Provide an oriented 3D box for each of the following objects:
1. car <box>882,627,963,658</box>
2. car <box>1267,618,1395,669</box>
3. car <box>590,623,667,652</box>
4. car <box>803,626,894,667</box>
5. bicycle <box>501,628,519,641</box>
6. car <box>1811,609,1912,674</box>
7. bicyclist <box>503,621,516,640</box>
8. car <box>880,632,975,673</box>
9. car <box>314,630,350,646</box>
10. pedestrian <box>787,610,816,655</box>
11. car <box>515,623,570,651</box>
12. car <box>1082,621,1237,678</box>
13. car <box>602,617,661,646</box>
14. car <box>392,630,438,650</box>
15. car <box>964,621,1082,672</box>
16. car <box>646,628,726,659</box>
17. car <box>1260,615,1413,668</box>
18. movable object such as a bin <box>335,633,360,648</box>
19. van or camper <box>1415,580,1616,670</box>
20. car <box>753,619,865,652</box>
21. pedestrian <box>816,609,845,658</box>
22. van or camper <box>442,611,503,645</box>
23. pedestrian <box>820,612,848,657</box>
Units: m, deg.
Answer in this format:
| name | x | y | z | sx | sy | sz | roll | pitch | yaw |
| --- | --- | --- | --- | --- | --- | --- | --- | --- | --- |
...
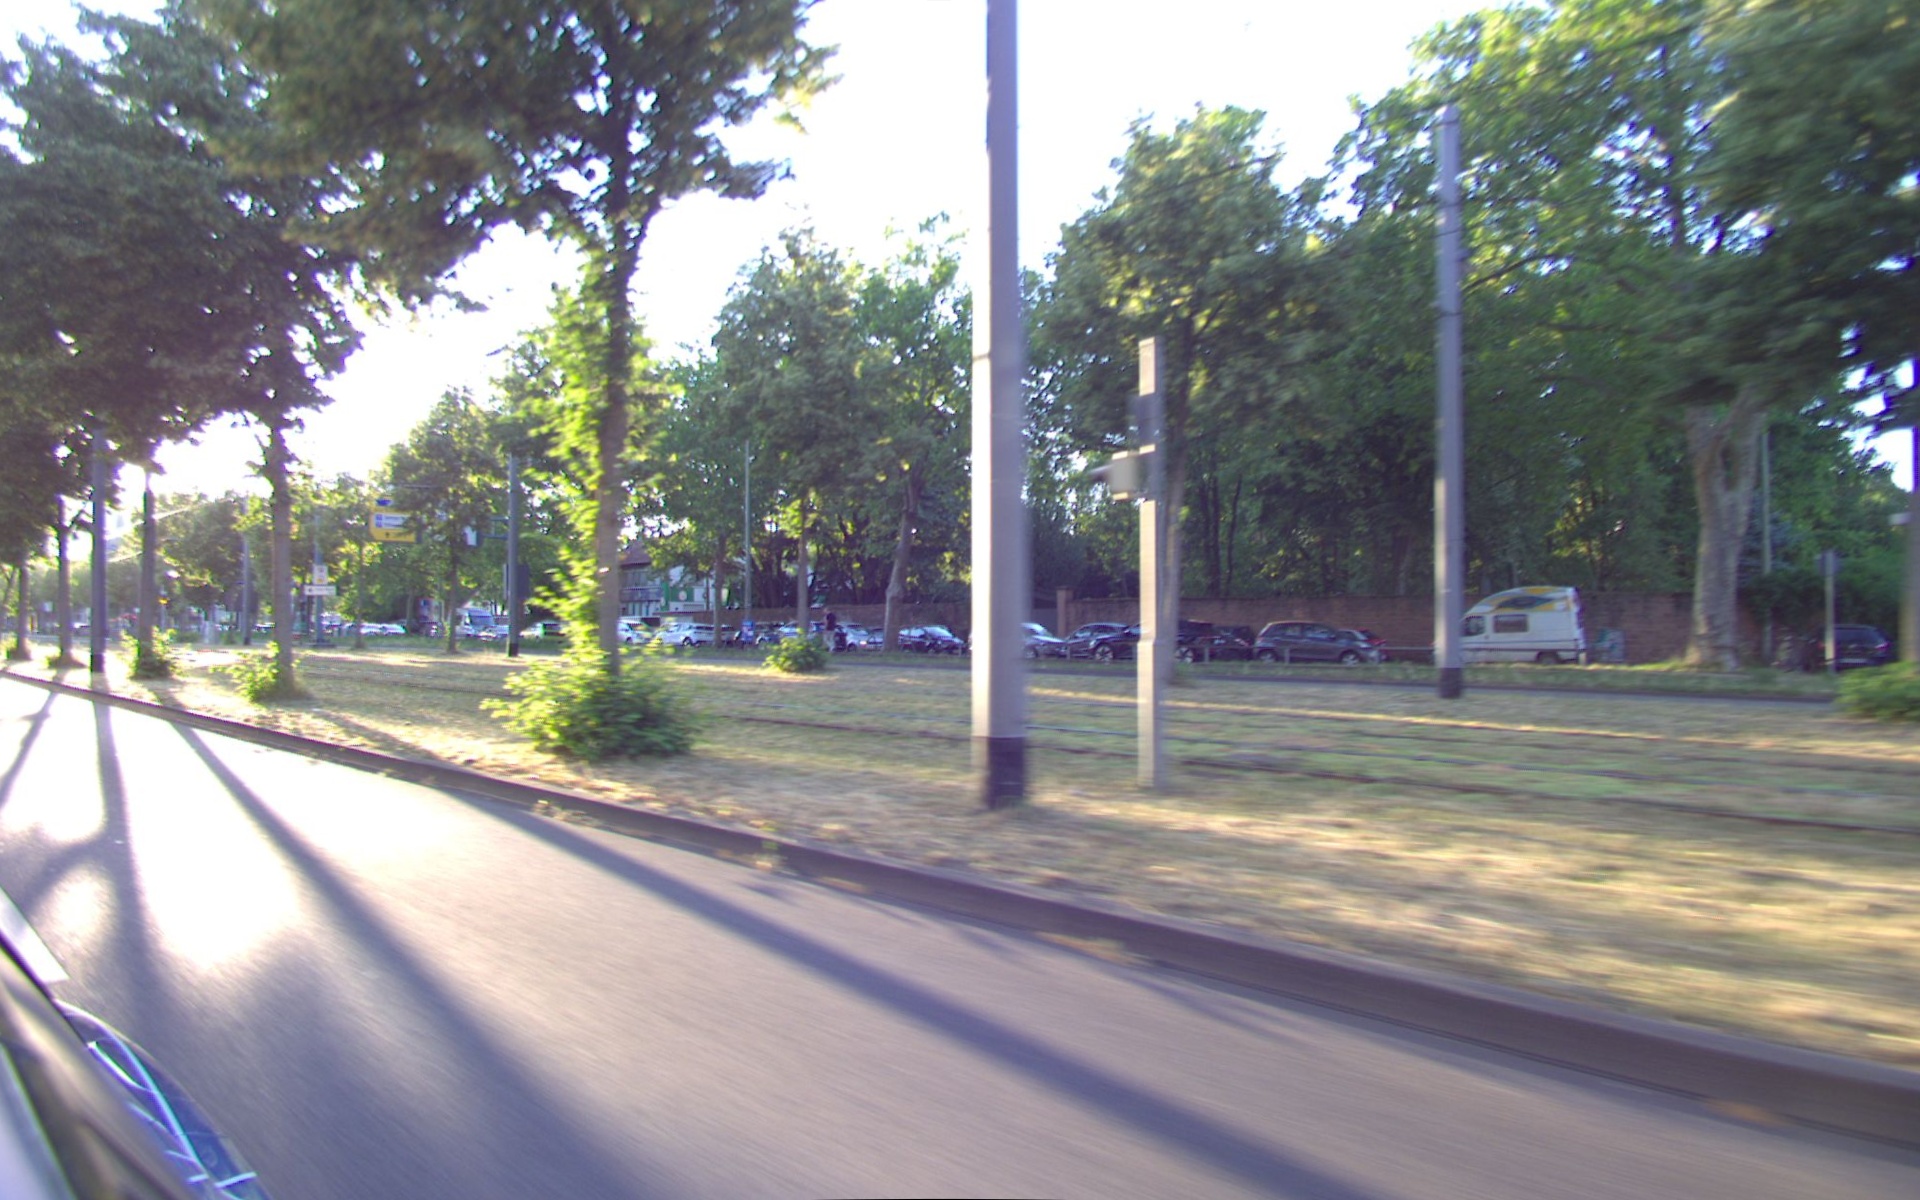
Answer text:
| name | x | y | z | sx | sy | sz | roll | pitch | yaw |
| --- | --- | --- | --- | --- | --- | --- | --- | --- | --- |
| car | -1.939 | 2.129 | 51.484 | 1.969 | 1.497 | 4.004 | 1 | -2 | -42 |
| car | 13.657 | 1.570 | 37.390 | 3.997 | 1.763 | 1.973 | -2 | -2 | 40 |
| car | -18.044 | 2.026 | 54.932 | 4.555 | 1.510 | 1.972 | -2 | -2 | 42 |
| car | -5.094 | 2.073 | 45.995 | 1.970 | 1.763 | 4.163 | 1 | -2 | -44 |
| bicycle | -37.809 | 2.912 | 84.956 | 0.722 | 1.099 | 2.018 | 1 | -2 | -44 |
| car | 24.763 | 1.098 | 27.804 | 1.922 | 1.652 | 3.943 | -2 | -2 | 43 |
| bicyclist | -37.853 | 2.540 | 85.004 | 0.720 | 1.545 | 1.086 | 1 | -2 | -44 |
| car | -1.359 | 2.105 | 41.219 | 1.782 | 1.572 | 3.841 | 1 | -2 | -44 |
| car | -61.301 | 3.691 | 98.762 | 3.999 | 1.459 | 1.972 | -2 | -2 | 42 |
| pedestrian | -6.205 | 1.274 | 39.618 | 0.865 | 1.756 | 0.686 | -2 | -2 | 39 |
| car | -26.165 | 2.294 | 63.332 | 1.969 | 1.652 | 4.005 | 1 | -2 | -42 |
| car | 6.658 | 1.625 | 34.060 | 4.787 | 1.763 | 1.973 | -2 | -2 | 40 |
| car | -24.214 | 2.340 | 74.479 | 5.060 | 2.029 | 1.971 | -2 | -2 | 44 |
| car | -42.741 | 3.144 | 79.374 | 4.097 | 1.512 | 1.972 | -2 | -2 | 42 |
| car | 2.304 | 1.699 | 37.677 | 1.970 | 1.763 | 4.163 | 1 | -2 | -44 |
| car | -13.947 | 2.183 | 51.411 | 4.305 | 1.511 | 1.880 | -2 | -2 | 42 |
| car | 11.381 | 1.245 | 30.671 | 3.991 | 1.497 | 1.976 | -2 | -2 | 35 |
| movable object such as a bin | -56.152 | 3.721 | 92.809 | 1.724 | 1.383 | 1.536 | -2 | -2 | 42 |
| van or camper | 18.155 | 0.834 | 33.266 | 5.489 | 2.756 | 2.064 | -2 | -2 | 39 |
| car | -6.606 | 1.522 | 43.929 | 5.140 | 1.325 | 1.972 | -2 | -2 | 42 |
| pedestrian | -5.072 | 1.311 | 39.623 | 0.864 | 1.884 | 0.687 | -2 | -2 | 33 |
| van or camper | -35.394 | 2.040 | 73.385 | 2.258 | 2.383 | 5.786 | 0 | -2 | -45 |
| pedestrian | -5.061 | 1.377 | 40.566 | 0.864 | 1.772 | 0.687 | -2 | -2 | 33 |
